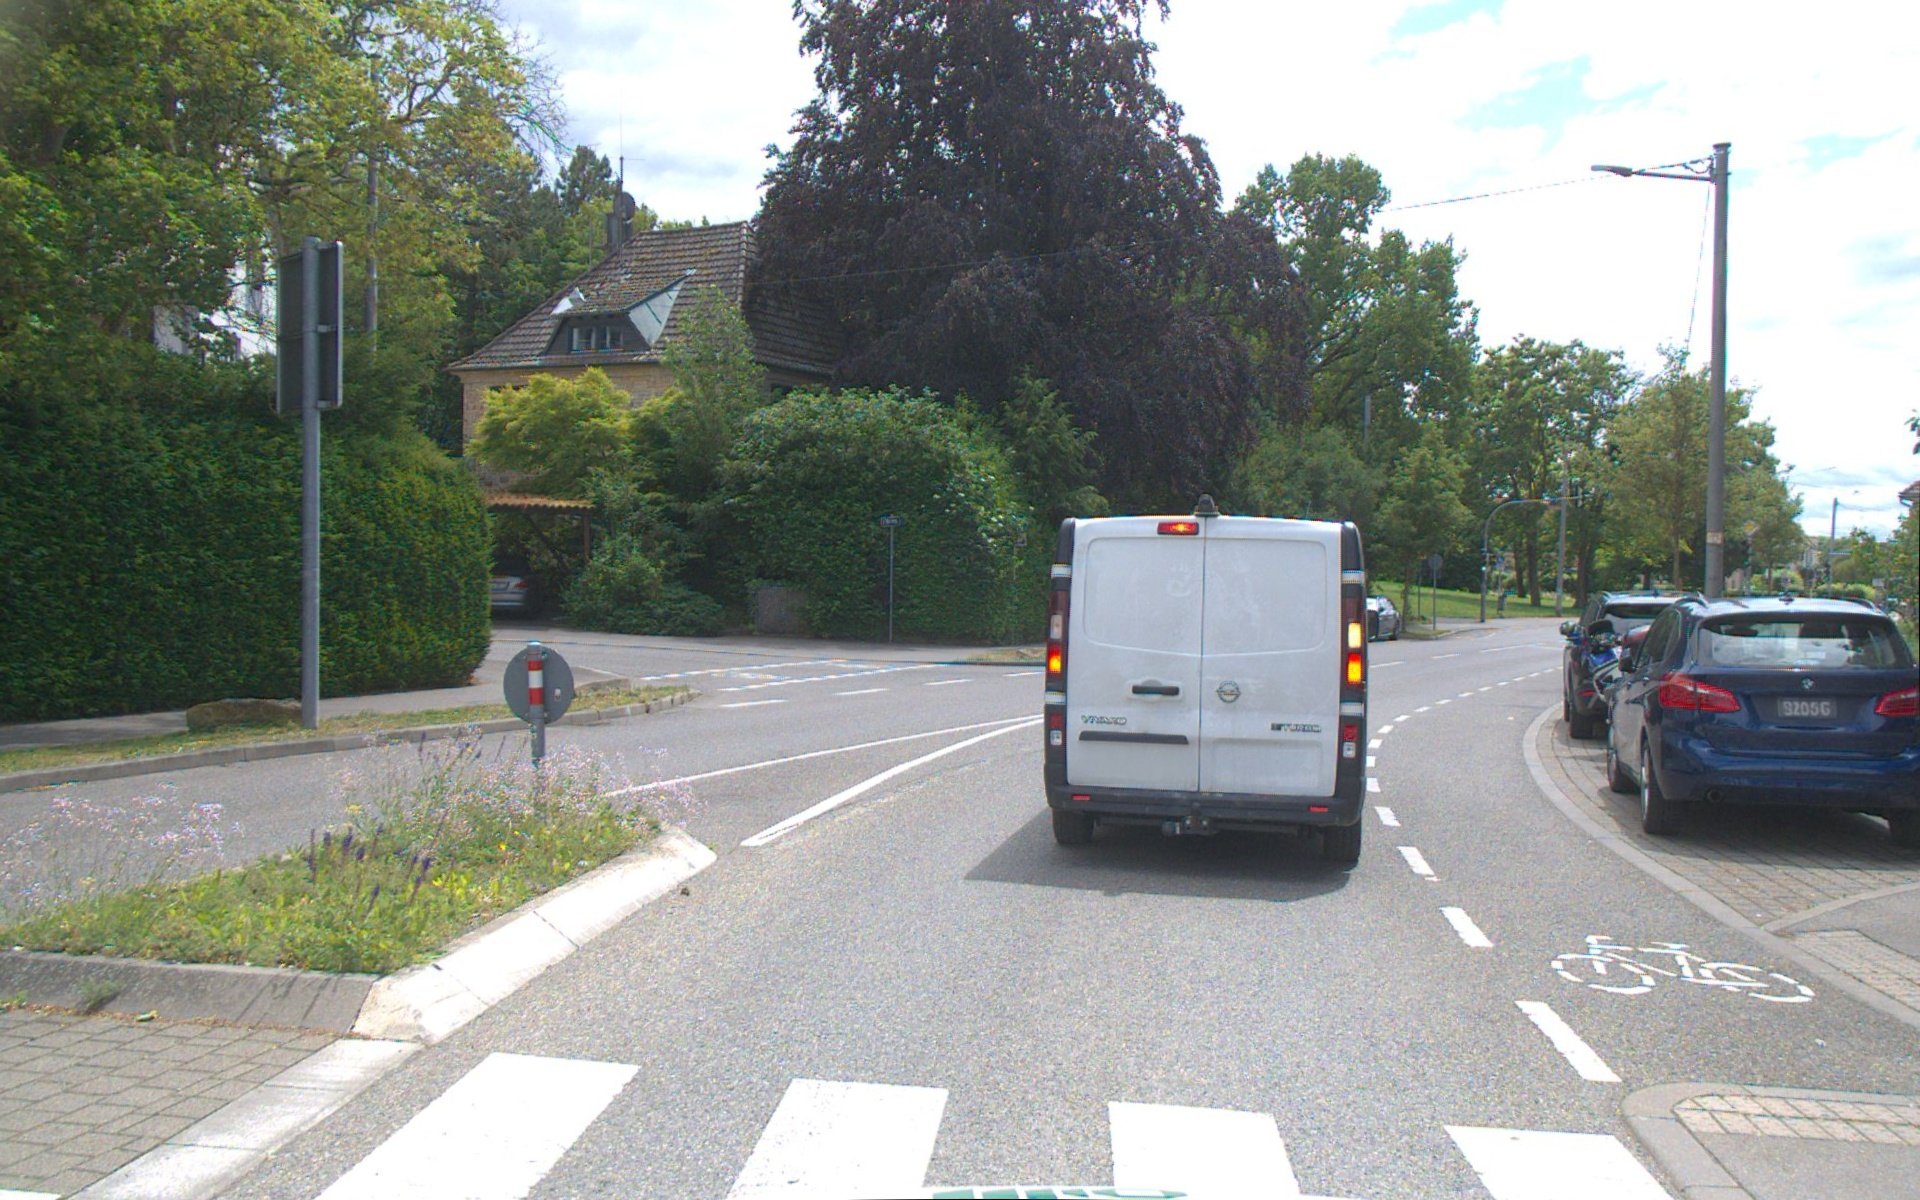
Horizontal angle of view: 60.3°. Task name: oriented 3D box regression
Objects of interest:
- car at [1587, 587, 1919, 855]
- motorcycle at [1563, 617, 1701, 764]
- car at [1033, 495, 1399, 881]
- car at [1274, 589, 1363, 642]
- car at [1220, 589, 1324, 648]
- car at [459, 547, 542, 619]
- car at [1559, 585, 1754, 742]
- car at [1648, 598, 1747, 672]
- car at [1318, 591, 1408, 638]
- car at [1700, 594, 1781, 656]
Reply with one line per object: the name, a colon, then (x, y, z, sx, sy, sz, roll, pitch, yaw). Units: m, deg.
car: (5.815, 0.724, 12.192, 1.876, 1.606, 4.432, 0, 0, 16)
motorcycle: (6.648, 0.855, 16.490, 1.048, 1.328, 2.261, -1, 0, 17)
car: (1.864, 0.442, 11.172, 1.897, 1.995, 4.837, 1, 0, 13)
car: (10.912, 0.455, 50.208, 1.566, 1.475, 3.589, 3, 1, 30)
car: (8.693, 0.493, 45.876, 1.618, 1.475, 4.099, 3, 1, 28)
car: (-10.700, -0.438, 38.705, 1.693, 1.536, 3.987, 2, 1, -14)
car: (8.240, 0.669, 19.934, 1.839, 1.650, 4.848, 0, 0, 19)
car: (16.328, 0.744, 36.489, 1.730, 1.503, 4.930, -2, -1, 27)
car: (13.159, 0.453, 53.875, 1.663, 1.389, 4.679, 3, 1, 28)
car: (21.612, 0.679, 45.714, 1.704, 1.645, 4.379, -1, -1, 29)
